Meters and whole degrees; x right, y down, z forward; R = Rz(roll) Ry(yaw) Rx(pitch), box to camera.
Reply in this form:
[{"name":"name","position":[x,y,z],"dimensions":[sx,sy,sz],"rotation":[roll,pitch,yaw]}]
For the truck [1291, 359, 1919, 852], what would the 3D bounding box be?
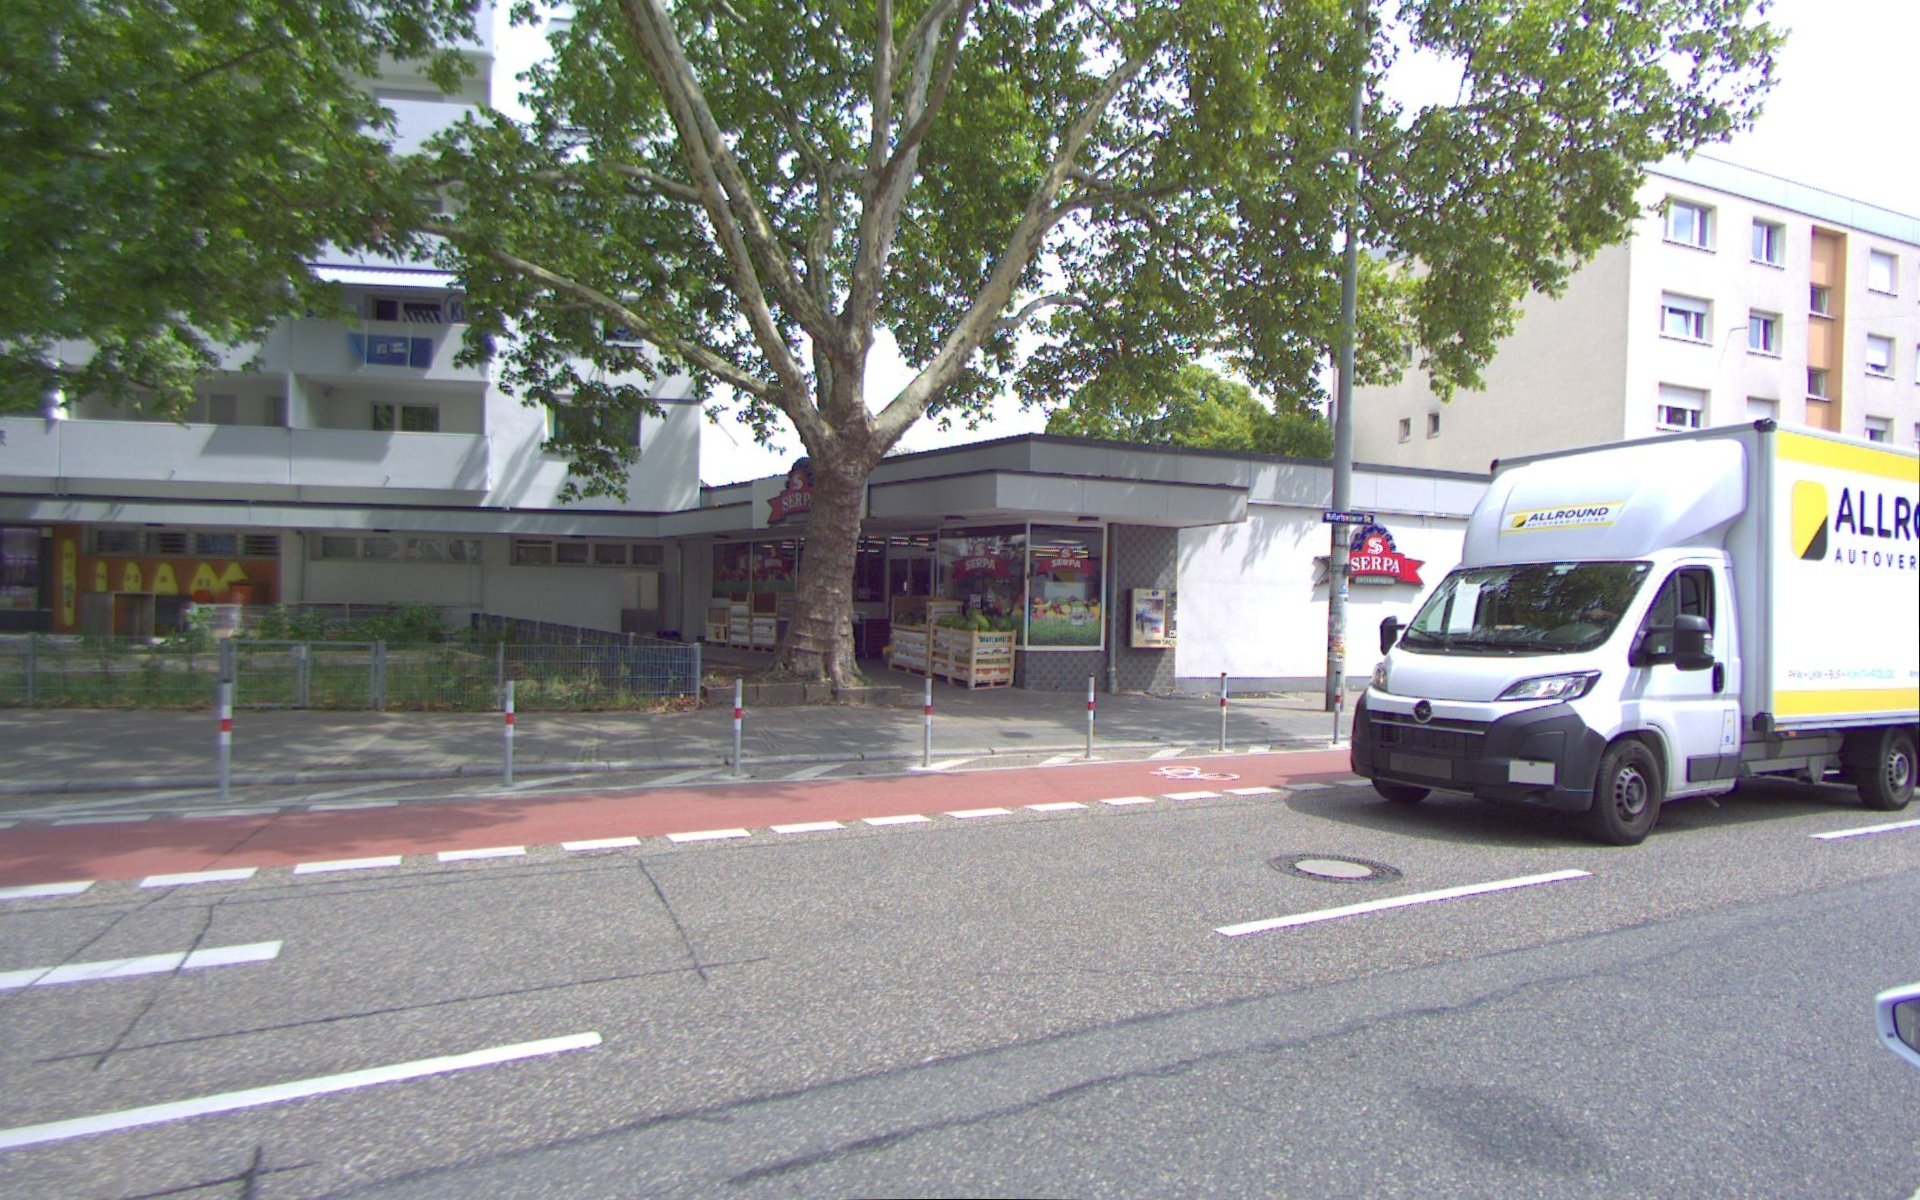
[{"name":"truck","position":[6.515,0.157,9.088],"dimensions":[6.927,3.148,2.533],"rotation":[2,-2,-26]}]
